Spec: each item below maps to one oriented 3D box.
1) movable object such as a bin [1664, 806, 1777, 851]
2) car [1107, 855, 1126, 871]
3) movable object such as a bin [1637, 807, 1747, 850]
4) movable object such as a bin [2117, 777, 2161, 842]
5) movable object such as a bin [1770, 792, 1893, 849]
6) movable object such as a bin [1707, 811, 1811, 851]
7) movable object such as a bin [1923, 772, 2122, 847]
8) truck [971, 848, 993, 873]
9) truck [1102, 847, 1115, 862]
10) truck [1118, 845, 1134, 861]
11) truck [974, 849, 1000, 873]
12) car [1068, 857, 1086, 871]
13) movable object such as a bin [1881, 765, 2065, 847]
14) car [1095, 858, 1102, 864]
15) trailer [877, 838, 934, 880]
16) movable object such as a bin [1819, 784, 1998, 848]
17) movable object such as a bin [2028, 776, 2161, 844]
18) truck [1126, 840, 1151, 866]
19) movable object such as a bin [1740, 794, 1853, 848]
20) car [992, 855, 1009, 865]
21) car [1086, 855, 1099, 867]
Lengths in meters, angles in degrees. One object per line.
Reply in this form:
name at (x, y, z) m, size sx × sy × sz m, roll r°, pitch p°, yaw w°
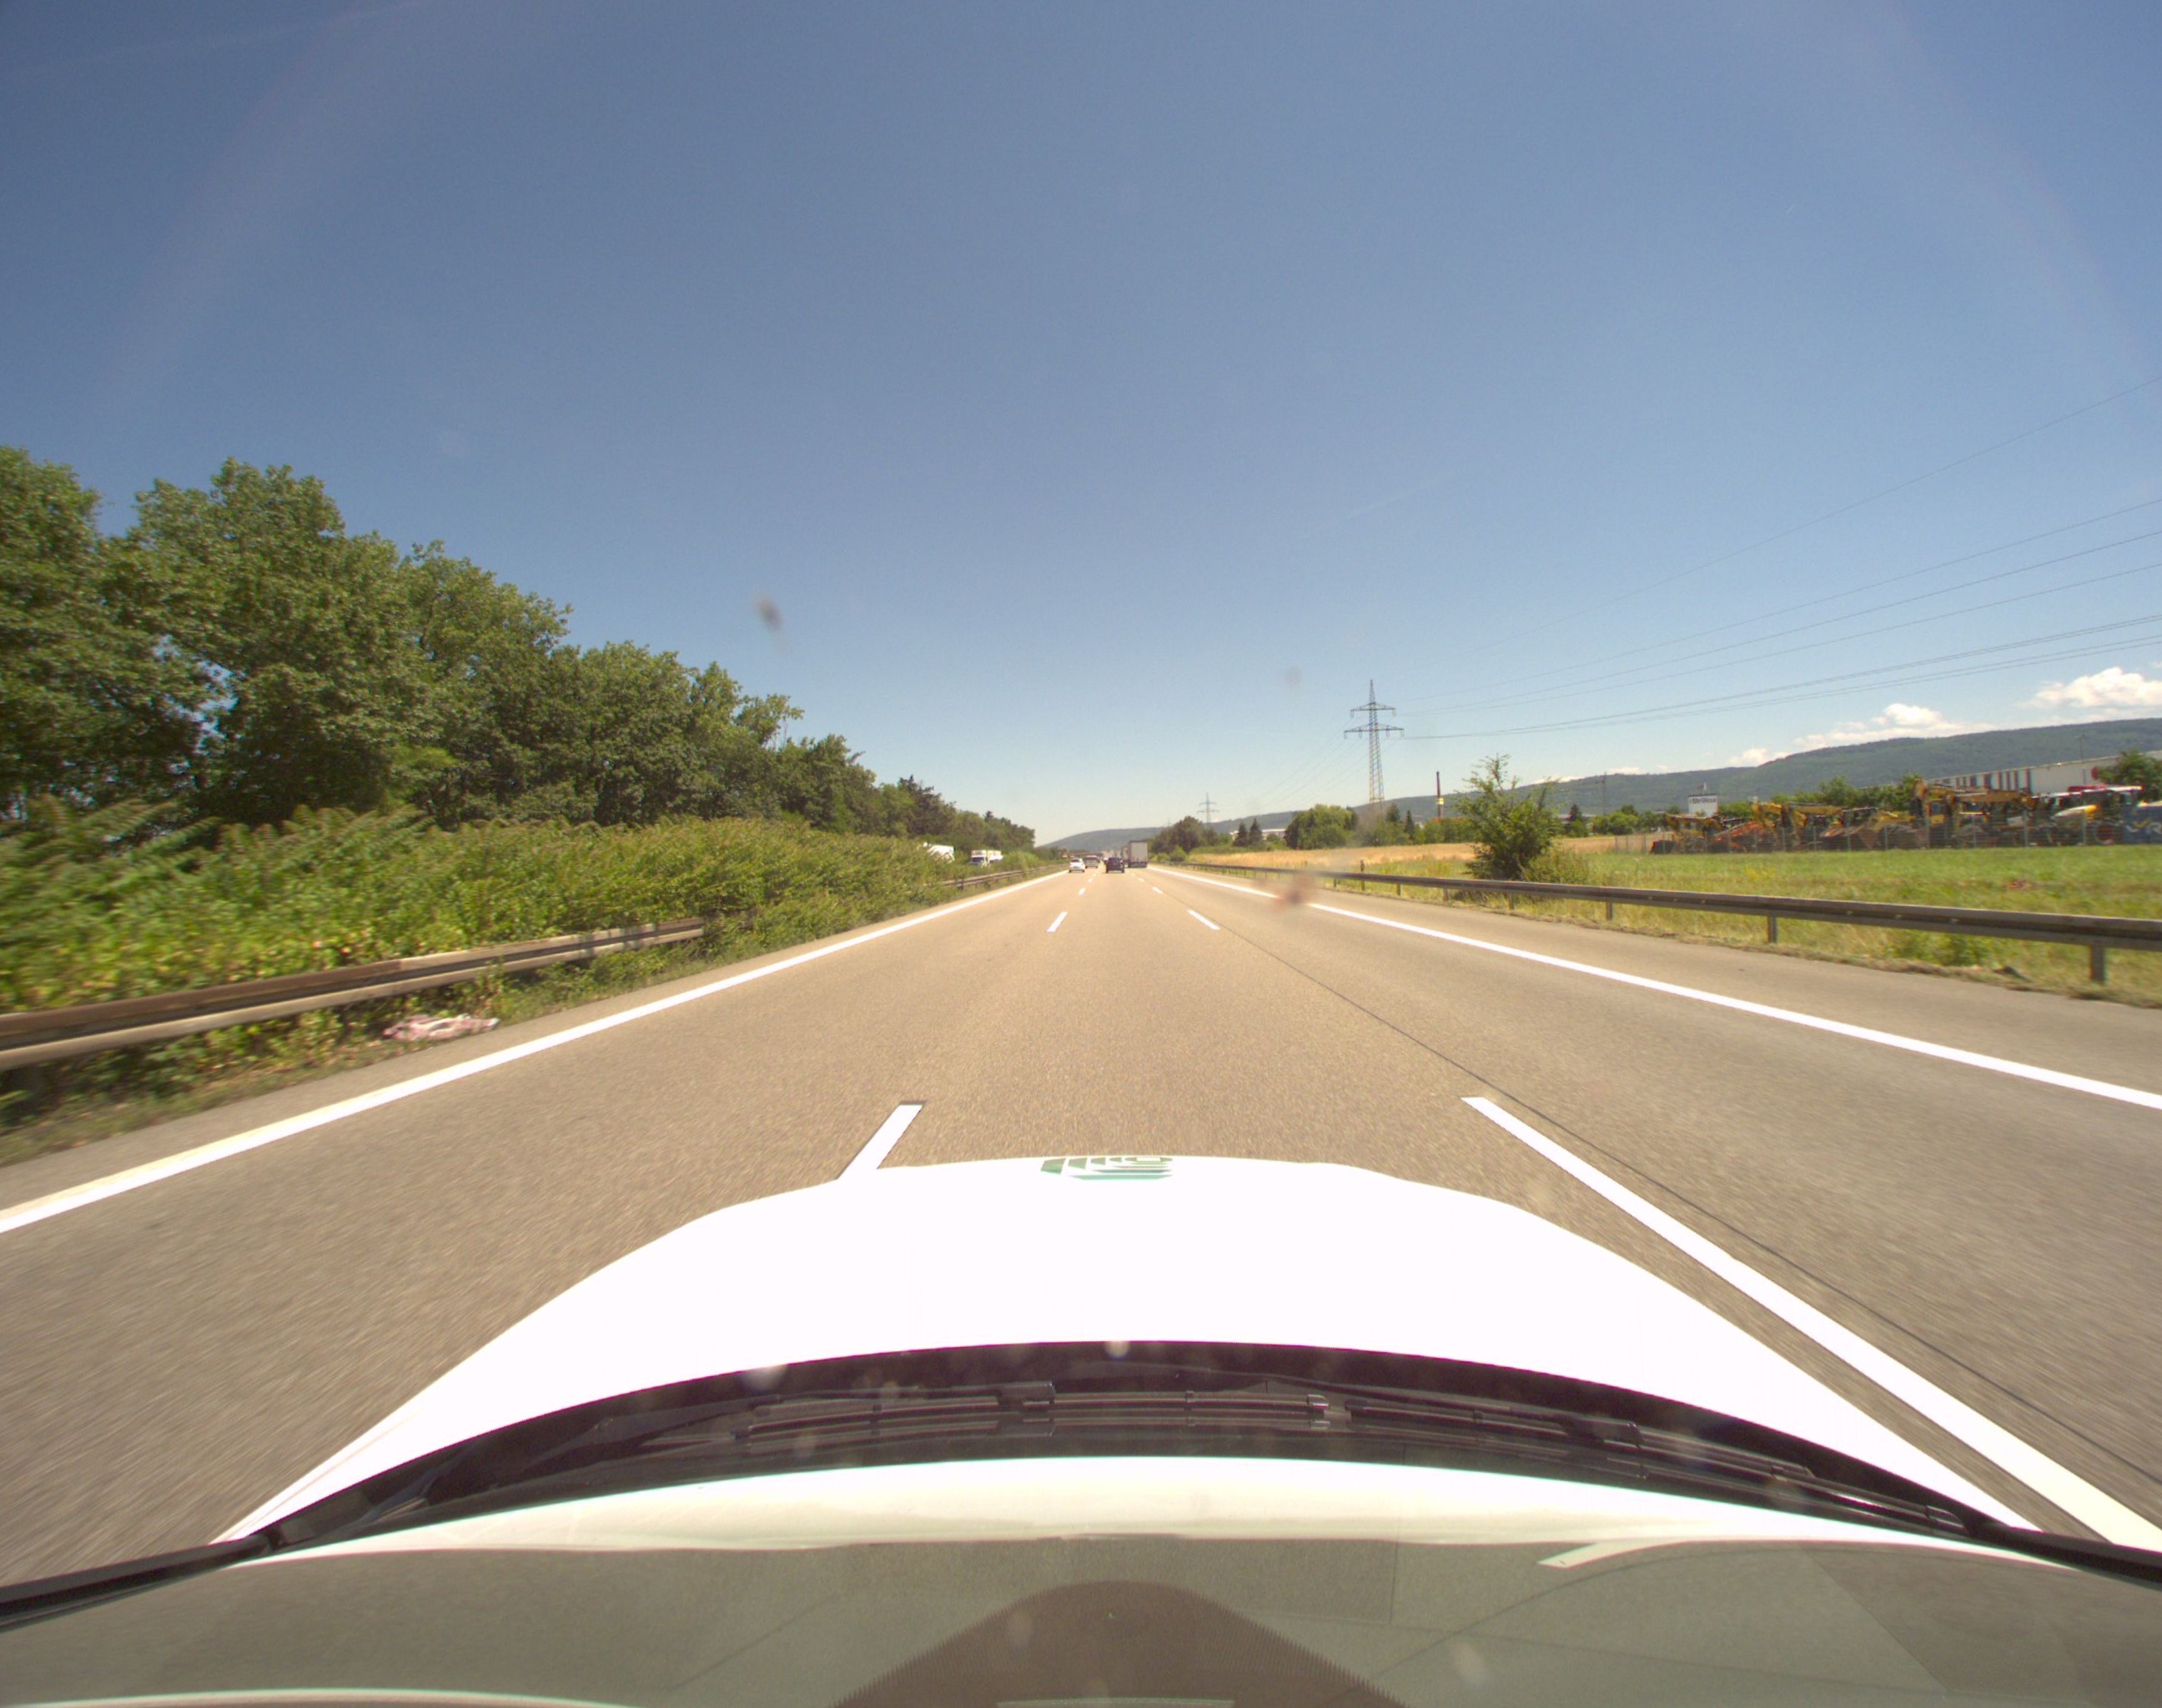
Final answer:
movable object such as a bin at (55.551, -2.169, 70.909) m, size 7.505 × 3.402 × 2.278 m, roll -4°, pitch -1°, yaw 7°
car at (3.534, 0.867, 82.514) m, size 1.878 × 1.515 × 4.002 m, roll 0°, pitch 0°, yaw 2°
movable object such as a bin at (56.408, -2.296, 75.346) m, size 7.505 × 3.402 × 3.057 m, roll -4°, pitch 0°, yaw 7°
movable object such as a bin at (55.867, -2.350, 40.645) m, size 4.786 × 3.196 × 2.303 m, roll -4°, pitch -1°, yaw 8°
movable object such as a bin at (55.647, -2.459, 60.537) m, size 6.312 × 3.732 × 2.500 m, roll -4°, pitch -1°, yaw 7°
movable object such as a bin at (56.219, -1.859, 67.641) m, size 6.312 × 2.880 × 2.278 m, roll -4°, pitch -1°, yaw 7°
movable object such as a bin at (56.074, -2.560, 48.728) m, size 7.474 × 3.783 × 3.110 m, roll -4°, pitch -1°, yaw 8°
truck at (-15.625, 1.064, 128.918) m, size 2.686 × 3.857 × 5.774 m, roll 0°, pitch 0°, yaw 1°
truck at (6.413, 0.151, 192.771) m, size 3.086 × 3.474 × 11.545 m, roll 0°, pitch 0°, yaw 1°
truck at (10.146, -0.220, 184.803) m, size 3.086 × 3.474 × 11.545 m, roll 0°, pitch 0°, yaw 1°
truck at (-15.491, 1.050, 134.731) m, size 2.686 × 3.857 × 11.450 m, roll 0°, pitch 0°, yaw 1°
car at (-0.389, 1.105, 89.193) m, size 1.800 × 1.468 × 4.002 m, roll 0°, pitch 0°, yaw 2°
movable object such as a bin at (56.862, -2.964, 52.129) m, size 7.474 × 4.527 × 3.110 m, roll -4°, pitch -1°, yaw 8°
car at (4.901, 1.930, 232.235) m, size 1.845 × 1.633 × 4.002 m, roll 0°, pitch 0°, yaw 2°
trailer at (-17.366, 0.414, 81.727) m, size 2.654 × 3.857 × 12.756 m, roll 0°, pitch 0°, yaw 1°
movable object such as a bin at (56.842, -2.508, 56.199) m, size 8.138 × 3.732 × 3.345 m, roll -4°, pitch 0°, yaw 8°
movable object such as a bin at (55.859, -2.355, 44.126) m, size 5.226 × 3.293 × 2.795 m, roll -4°, pitch 0°, yaw 9°
truck at (8.681, -0.150, 123.946) m, size 3.253 × 3.857 × 11.634 m, roll 0°, pitch 0°, yaw 1°
movable object such as a bin at (56.114, -2.547, 63.956) m, size 6.312 × 3.732 × 2.278 m, roll -4°, pitch -1°, yaw 7°
car at (-11.493, 0.816, 116.458) m, size 1.780 × 1.401 × 4.330 m, roll 0°, pitch 0°, yaw 2°
car at (1.739, 1.053, 123.426) m, size 1.845 × 1.633 × 4.002 m, roll 0°, pitch 0°, yaw 2°
